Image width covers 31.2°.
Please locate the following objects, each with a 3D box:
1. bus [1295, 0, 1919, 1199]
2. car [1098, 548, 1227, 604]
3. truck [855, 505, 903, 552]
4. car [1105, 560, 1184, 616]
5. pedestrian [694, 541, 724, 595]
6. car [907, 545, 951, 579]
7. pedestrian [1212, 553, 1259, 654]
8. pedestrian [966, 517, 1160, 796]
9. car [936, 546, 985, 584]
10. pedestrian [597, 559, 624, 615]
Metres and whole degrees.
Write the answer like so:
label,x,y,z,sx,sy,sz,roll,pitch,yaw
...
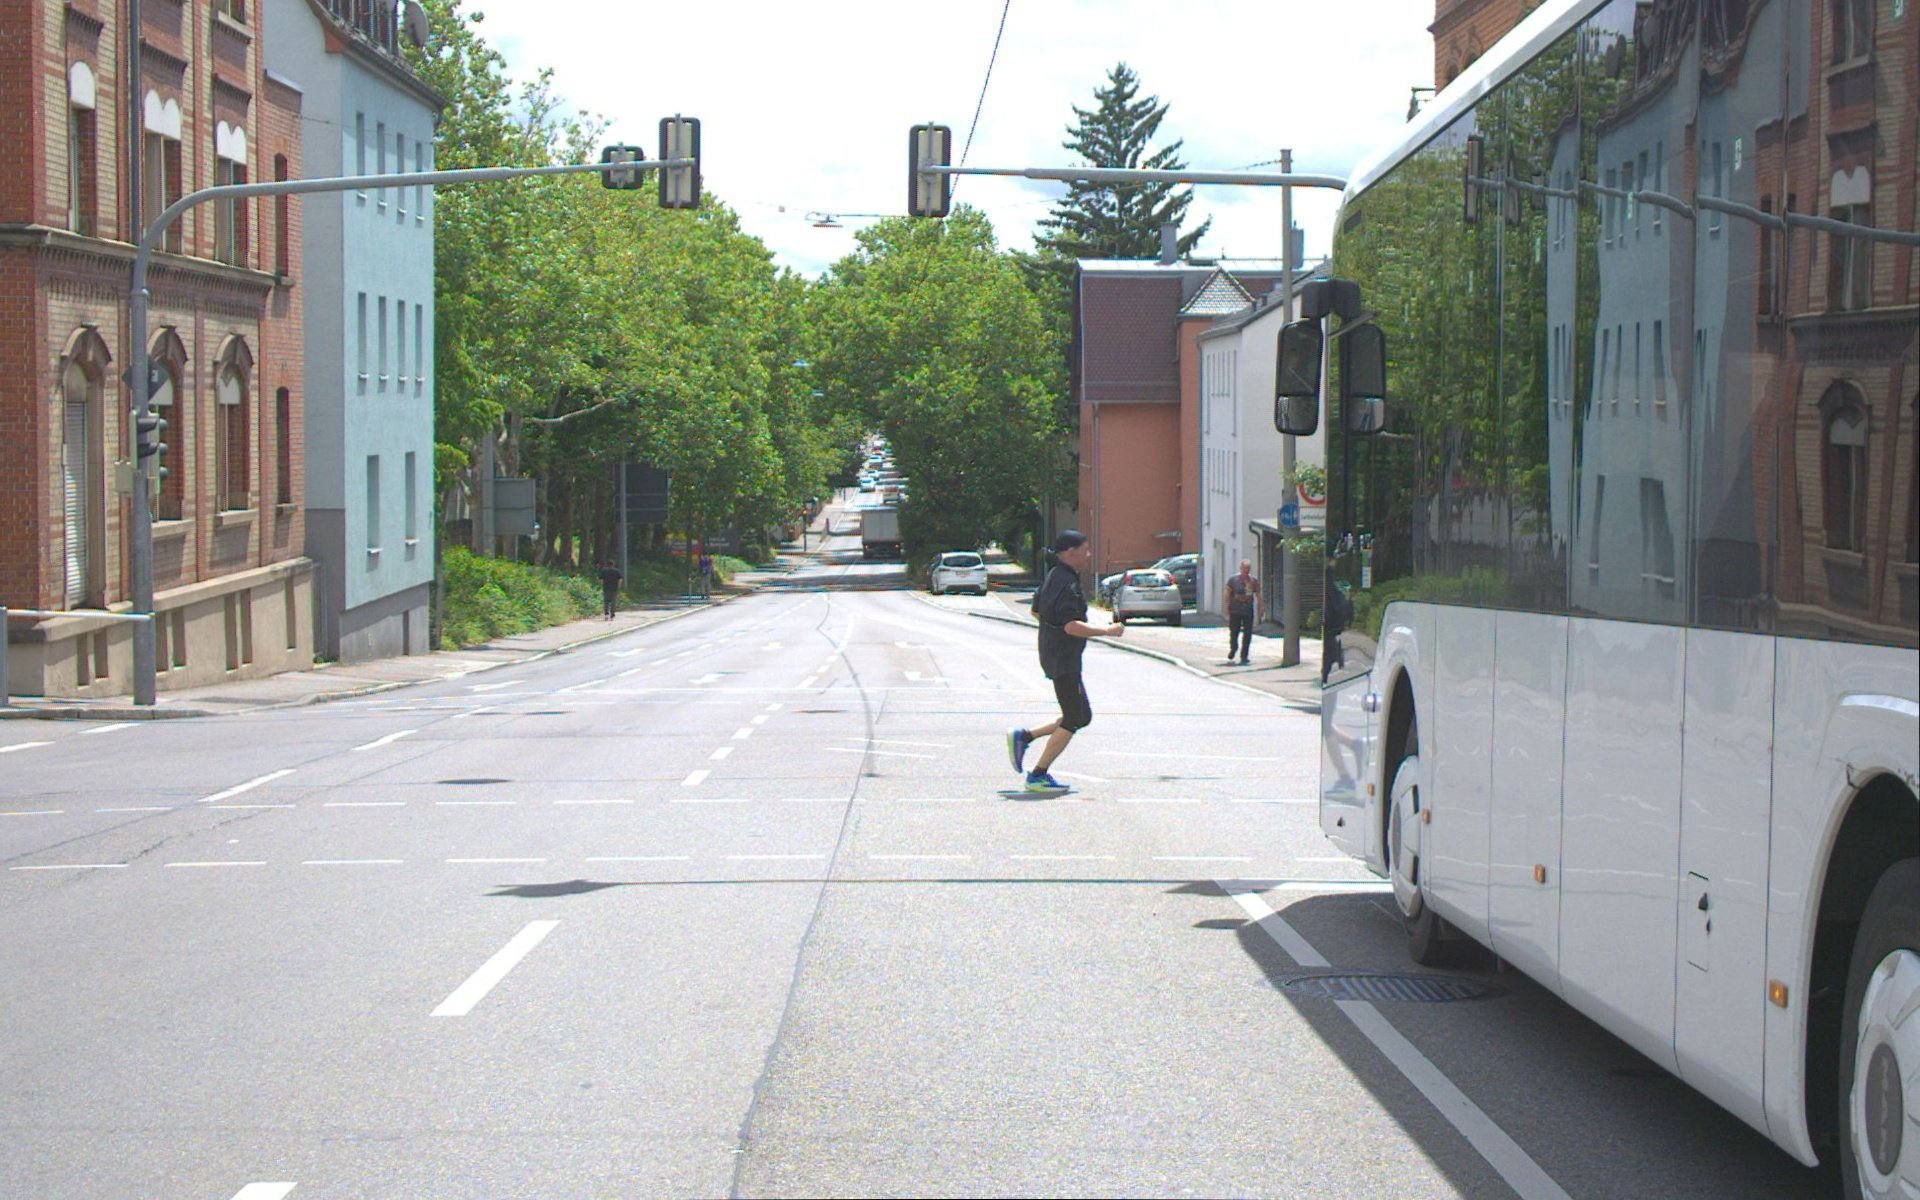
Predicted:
label,x,y,z,sx,sy,sz,roll,pitch,yaw
bus,2.907,-0.229,9.241,2.672,3.145,12.462,-1,1,0
car,6.654,-0.792,113.174,3.986,1.751,2.000,-1,1,-5
truck,-5.435,-4.777,229.247,2.926,3.070,7.886,-1,1,-3
car,4.980,-0.341,93.075,1.794,1.405,4.001,-1,1,-2
pedestrian,-9.344,-1.202,127.971,0.995,2.007,1.189,-1,1,-1
car,-1.293,-1.598,145.829,1.794,1.405,4.419,1,1,0
pedestrian,4.797,0.058,59.849,0.738,1.744,0.619,-1,1,-1
pedestrian,0.643,0.346,21.769,1.140,1.728,0.759,0,1,-5
car,0.024,-1.317,129.340,1.794,1.405,4.000,1,1,0
pedestrian,-9.773,-0.378,96.136,0.729,1.560,0.561,0,1,-1
